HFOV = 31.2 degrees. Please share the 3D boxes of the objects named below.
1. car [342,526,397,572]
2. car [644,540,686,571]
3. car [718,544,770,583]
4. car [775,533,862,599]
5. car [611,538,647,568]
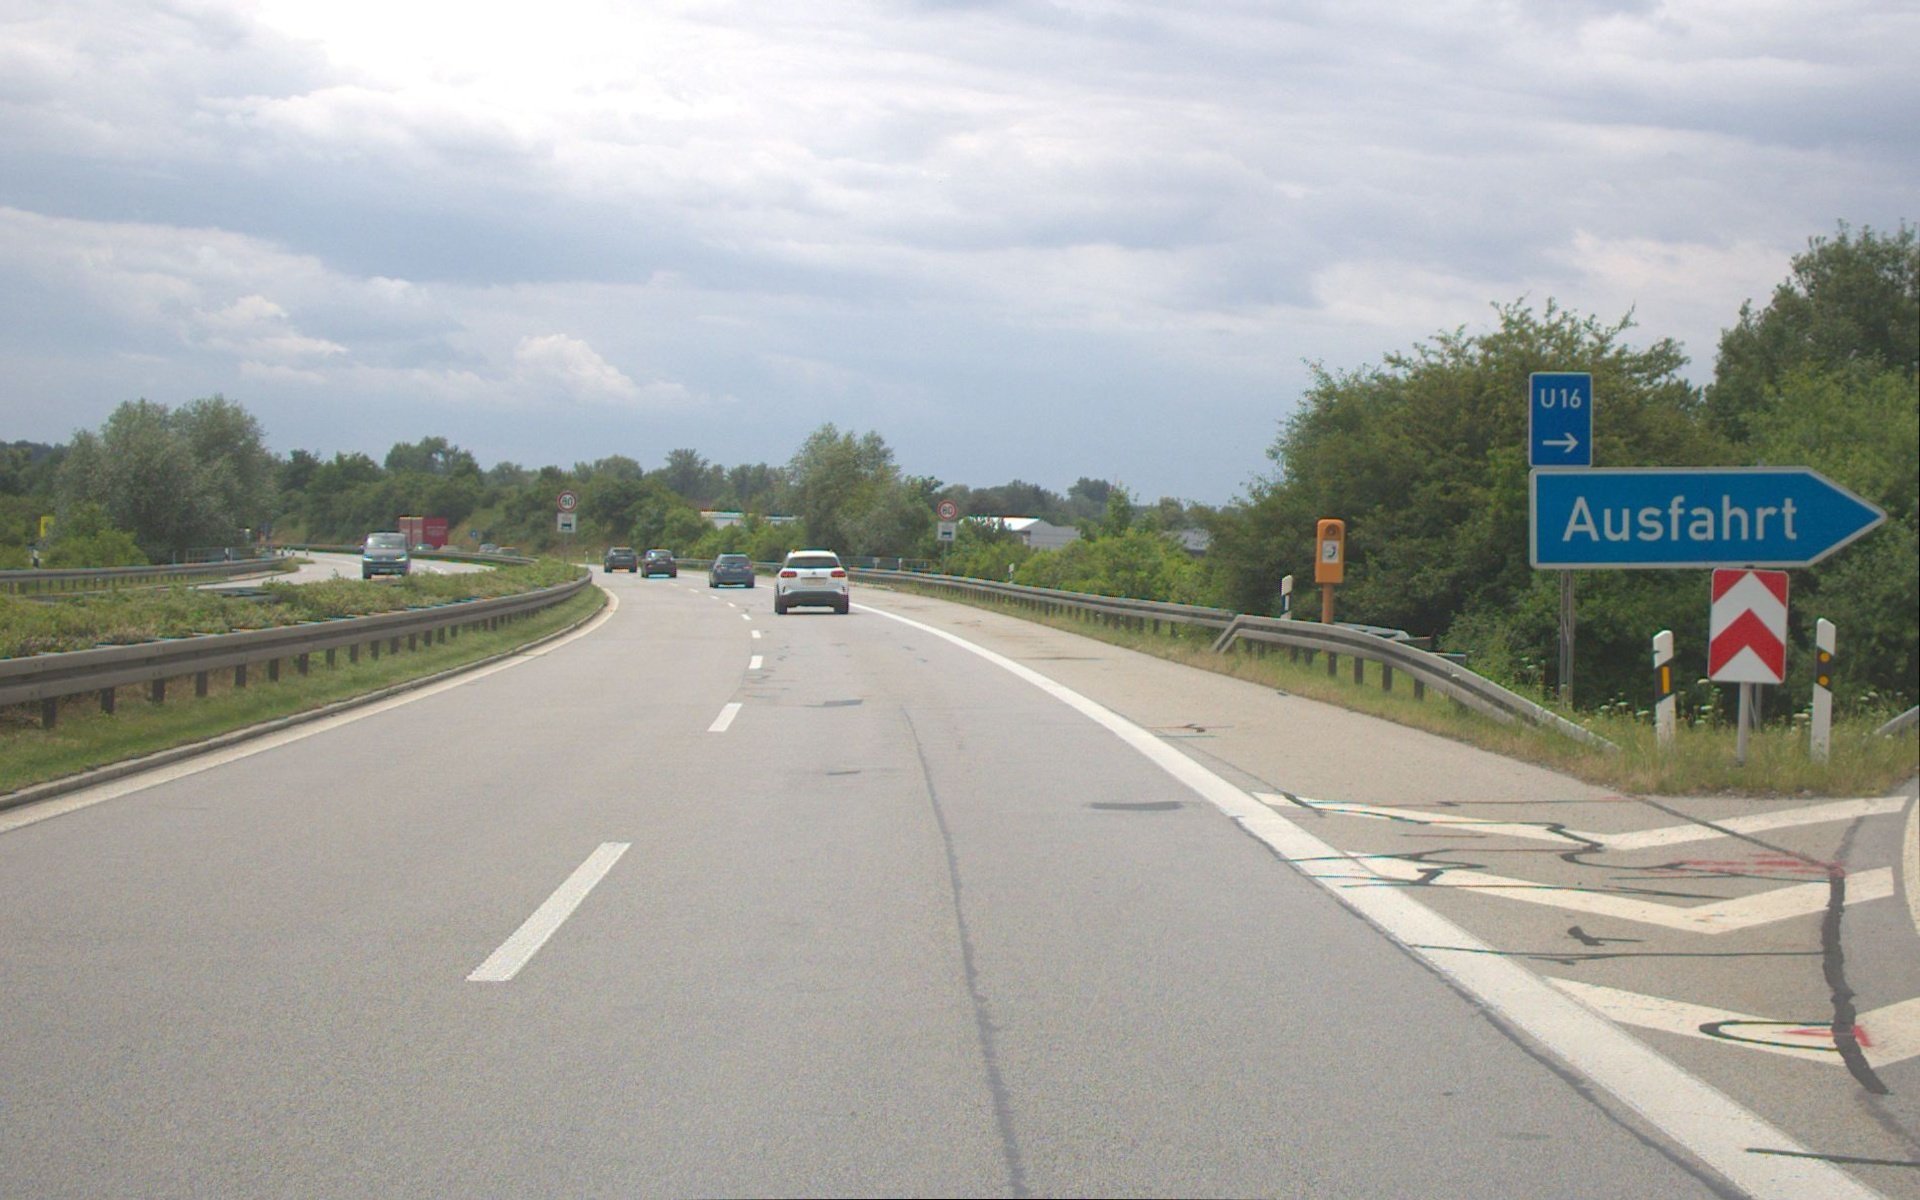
[{"bbox_3d":[-25.183,-2.175,146.737,1.700,1.878,5.229,1,1,-4],"label":"car"},{"bbox_3d":[-16.356,-2.461,190.500,1.902,1.634,4.781,1,1,-10],"label":"car"},{"bbox_3d":[-9.267,-1.573,147.256,1.892,1.634,4.623,1,1,-8],"label":"car"},{"bbox_3d":[-3.748,-0.912,90.419,1.902,1.634,4.397,1,1,-7],"label":"car"},{"bbox_3d":[-21.095,-3.017,218.850,1.826,1.787,4.415,-2,2,-11],"label":"car"}]
